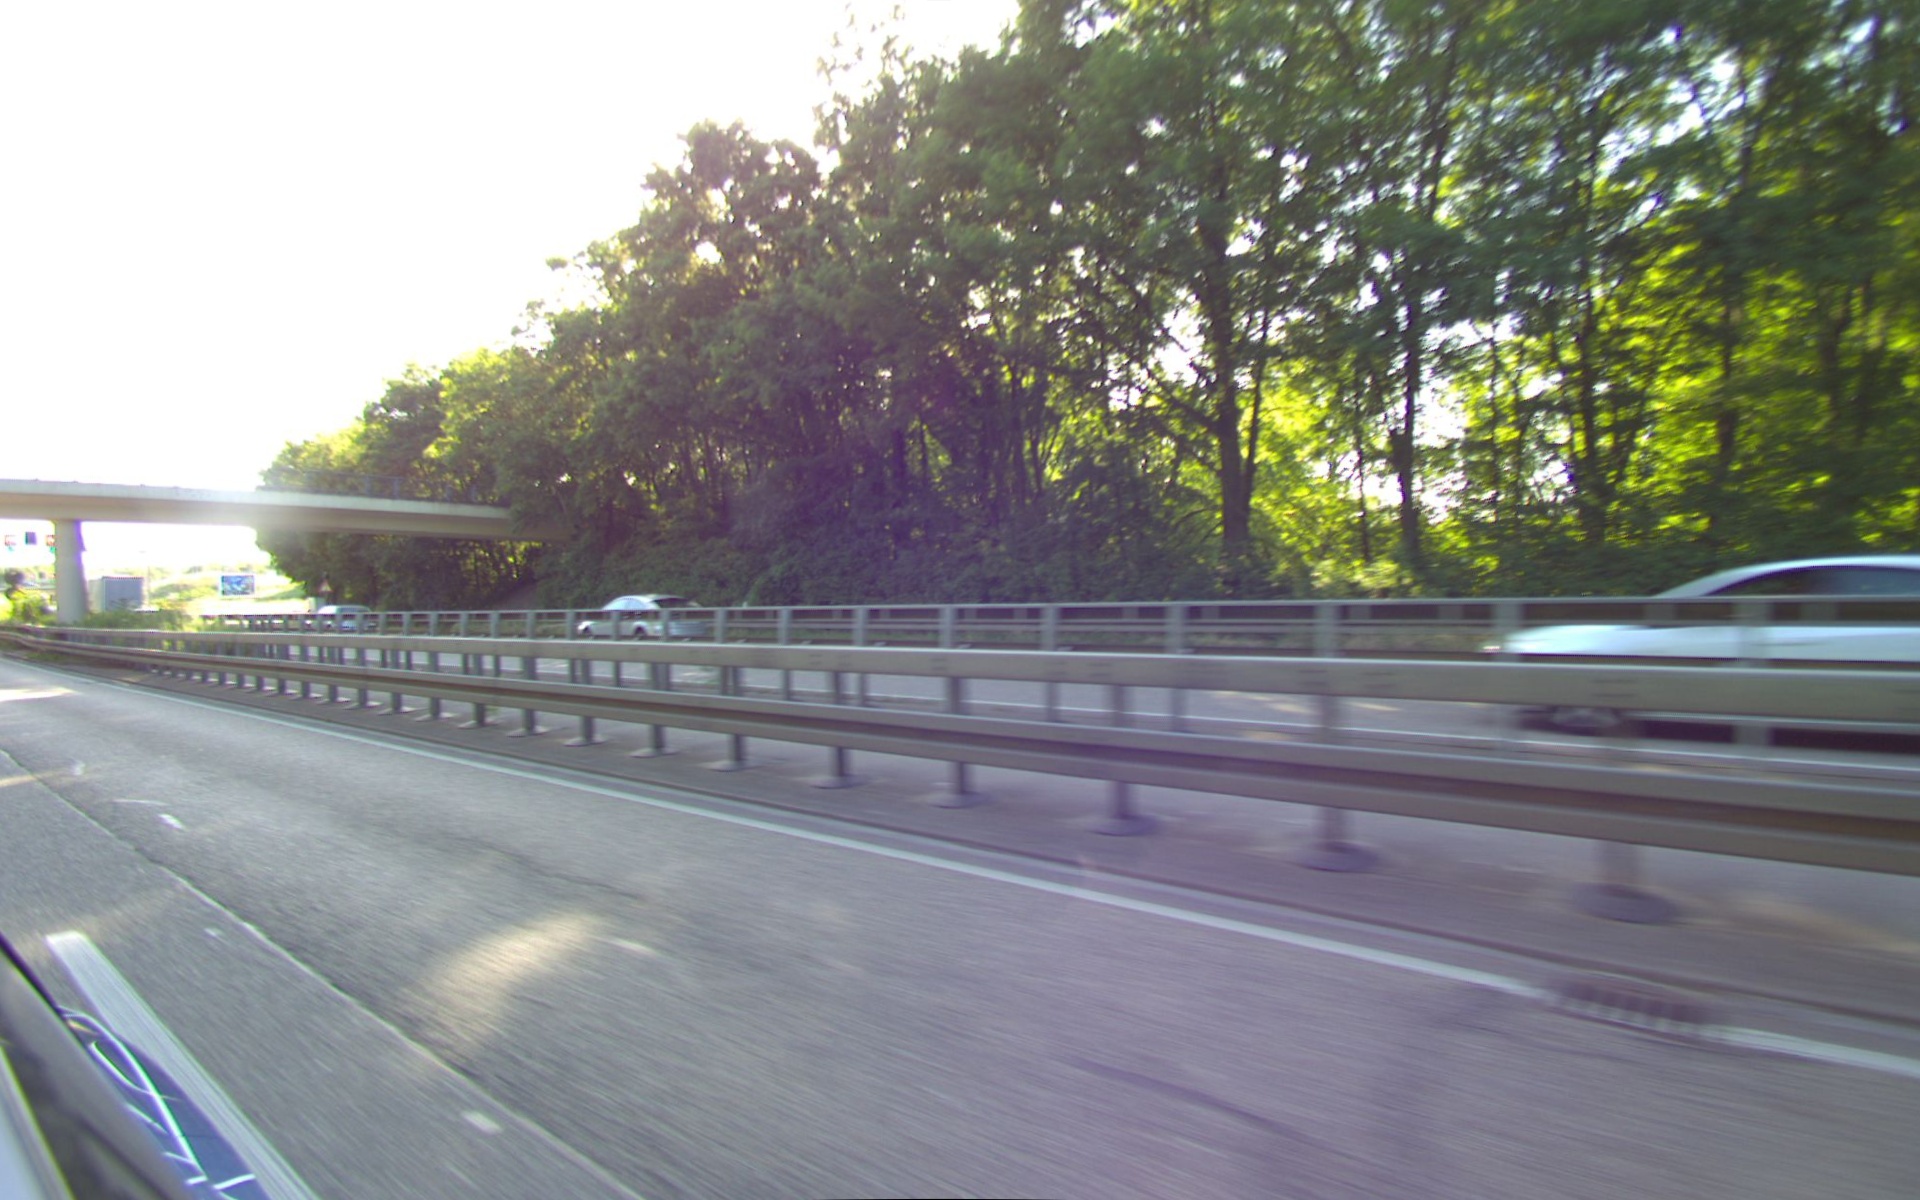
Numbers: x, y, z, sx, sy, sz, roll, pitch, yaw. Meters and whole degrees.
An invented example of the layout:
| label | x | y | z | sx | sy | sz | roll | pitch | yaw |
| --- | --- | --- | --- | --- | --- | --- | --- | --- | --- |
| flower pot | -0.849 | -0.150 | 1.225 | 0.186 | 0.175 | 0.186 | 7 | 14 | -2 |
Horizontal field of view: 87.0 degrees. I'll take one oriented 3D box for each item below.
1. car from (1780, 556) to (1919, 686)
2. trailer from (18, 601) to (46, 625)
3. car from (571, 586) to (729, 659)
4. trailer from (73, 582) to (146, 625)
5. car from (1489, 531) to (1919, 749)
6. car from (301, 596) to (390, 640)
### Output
| label | x | y | z | sx | sy | sz | roll | pitch | yaw |
| --- | --- | --- | --- | --- | --- | --- | --- | --- | --- |
| car | 12.385 | 0.207 | 11.698 | 4.451 | 1.500 | 1.712 | -1 | 0 | 41 |
| trailer | -166.810 | 2.326 | 181.890 | 14.033 | 4.018 | 2.988 | -1 | 0 | 45 |
| car | -8.192 | 0.557 | 26.534 | 4.371 | 1.763 | 1.973 | -1 | 0 | 41 |
| trailer | -68.250 | 0.303 | 81.099 | 11.914 | 3.192 | 2.898 | -1 | 0 | 42 |
| car | 6.788 | 0.264 | 7.927 | 4.395 | 1.500 | 1.712 | -1 | 0 | 41 |
| car | -25.895 | 0.742 | 42.596 | 4.341 | 1.763 | 1.973 | -1 | 0 | 41 |
